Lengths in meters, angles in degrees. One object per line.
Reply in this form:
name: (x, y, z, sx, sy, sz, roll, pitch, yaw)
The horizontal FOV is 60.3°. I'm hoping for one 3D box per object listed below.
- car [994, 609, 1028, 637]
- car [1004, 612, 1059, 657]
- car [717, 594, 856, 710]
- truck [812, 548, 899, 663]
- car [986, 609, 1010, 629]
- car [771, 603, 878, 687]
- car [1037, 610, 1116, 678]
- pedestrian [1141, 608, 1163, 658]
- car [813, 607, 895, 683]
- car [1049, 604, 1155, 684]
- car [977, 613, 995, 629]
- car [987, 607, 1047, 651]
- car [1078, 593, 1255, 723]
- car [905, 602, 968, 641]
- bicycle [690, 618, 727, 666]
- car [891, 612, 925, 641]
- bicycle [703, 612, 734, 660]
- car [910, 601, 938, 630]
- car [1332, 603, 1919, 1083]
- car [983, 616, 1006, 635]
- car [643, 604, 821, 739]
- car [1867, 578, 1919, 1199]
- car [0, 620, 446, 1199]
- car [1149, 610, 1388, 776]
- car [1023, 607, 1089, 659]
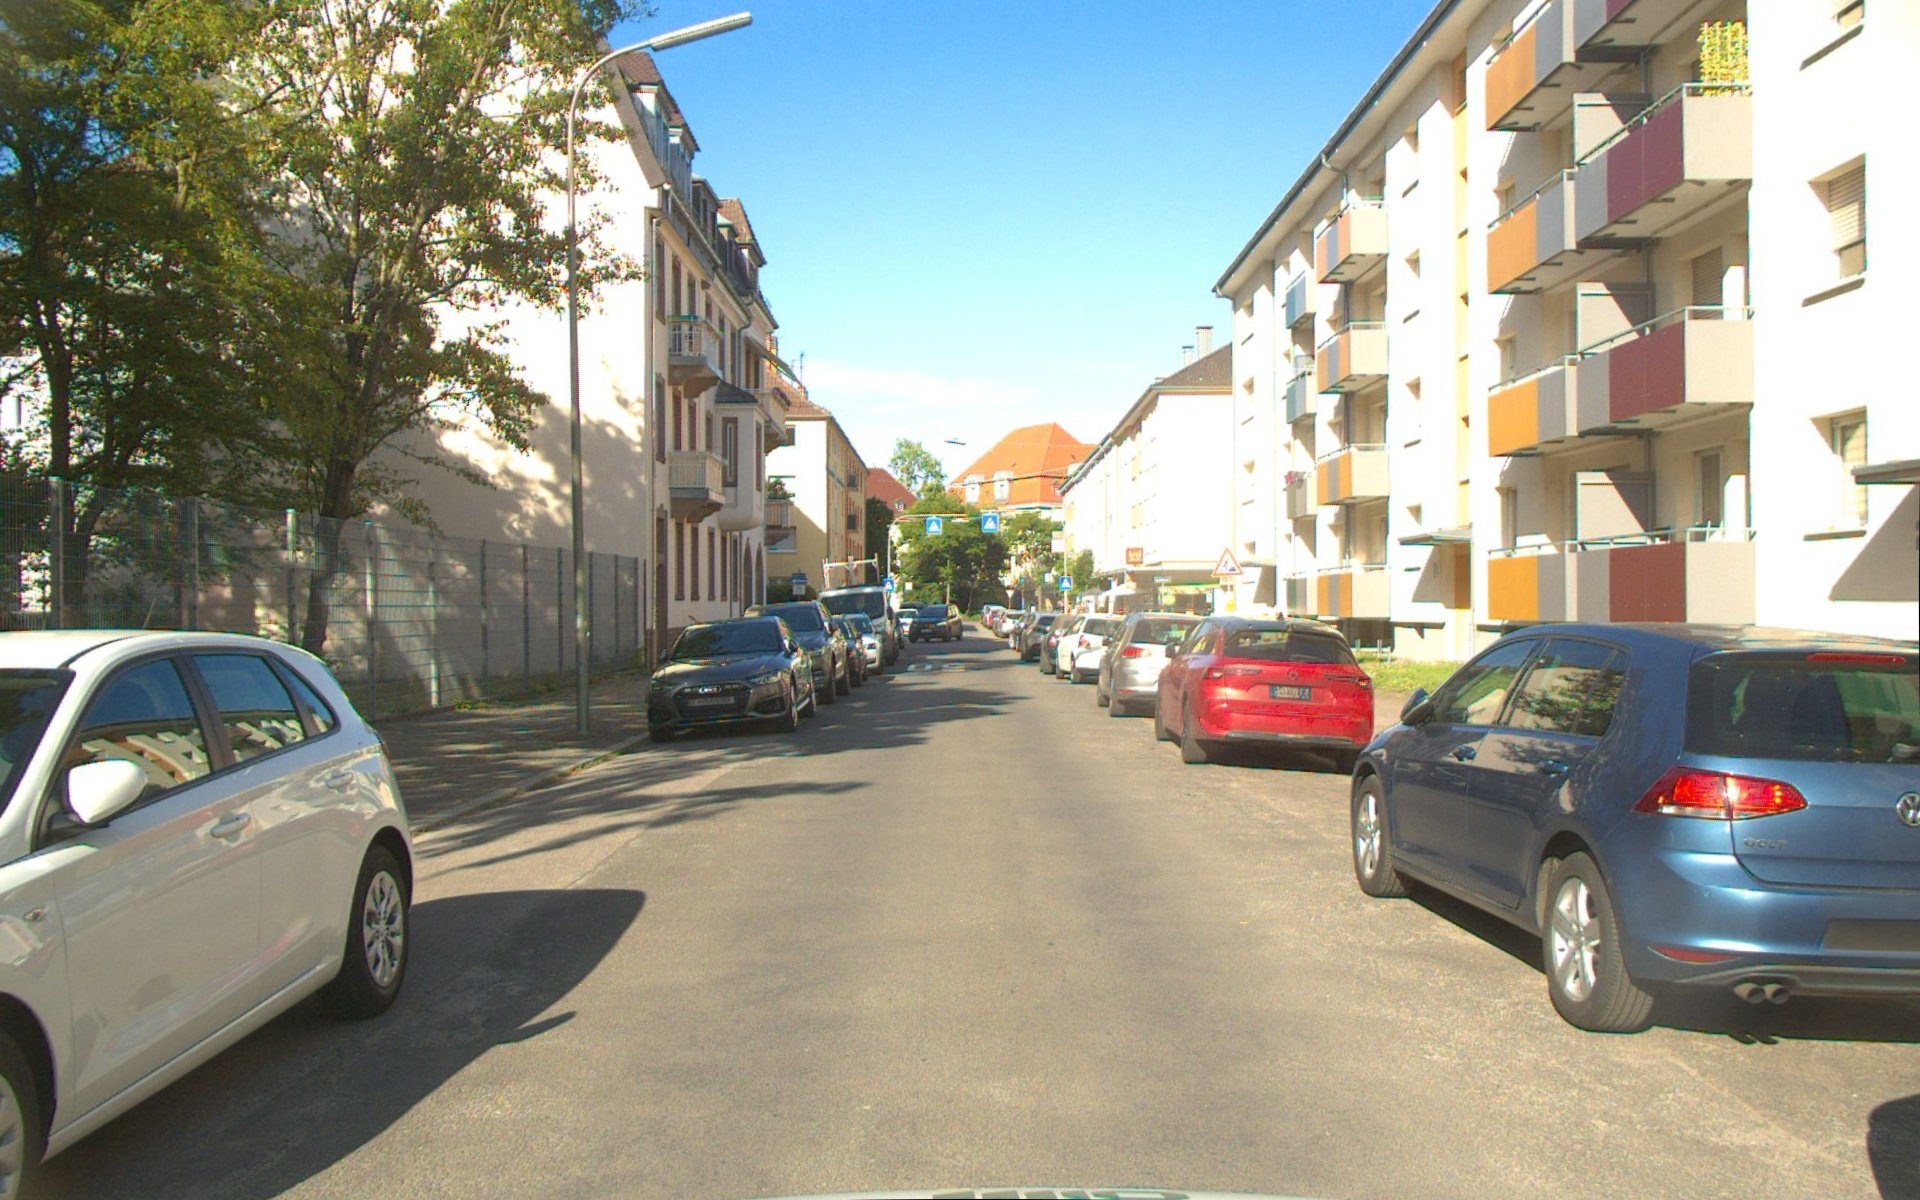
car: (2.742, 1.220, 88.709, 1.807, 1.466, 3.419, 0, -1, 2)
car: (2.409, 1.178, 56.292, 1.612, 1.485, 3.938, 1, -1, -1)
car: (-2.814, 0.833, 27.863, 1.841, 1.693, 4.930, -2, -1, -1)
truck: (-2.916, 0.216, 47.526, 2.213, 3.038, 7.273, 0, -1, -1)
car: (2.740, 1.366, 120.098, 1.604, 1.466, 3.418, 0, 0, -1)
car: (-2.721, 0.901, 34.100, 1.755, 1.590, 4.459, 1, -1, 1)
car: (2.791, 1.026, 40.159, 1.653, 1.492, 3.583, 2, 0, 1)
pedestrian: (5.654, 0.965, 48.637, 0.563, 1.458, 0.471, -1, 0, 2)
car: (-2.541, 1.049, 40.477, 1.757, 1.567, 4.639, -6, 0, -2)
car: (3.013, 0.930, 35.737, 1.652, 1.488, 3.817, 5, -1, -3)
car: (2.454, 1.985, 154.717, 1.604, 1.466, 3.418, 0, -1, -1)
car: (2.079, 1.096, 61.741, 1.817, 1.550, 4.774, 1, -1, -3)
car: (2.898, 0.796, 24.204, 1.860, 1.650, 4.600, 2, -1, -1)
car: (-1.008, 0.931, 72.792, 1.782, 1.662, 4.260, -1, 0, 13)
bicycle: (-6.729, 1.112, 44.337, 0.616, 1.225, 2.340, 0, 0, 0)
car: (-2.903, 1.453, 92.987, 1.755, 1.506, 4.099, -1, 0, 0)
bicycle: (-6.884, 1.019, 47.261, 0.557, 1.301, 2.340, 0, 0, 0)
car: (-2.305, 0.996, 105.575, 1.662, 1.810, 4.098, 0, -1, 0)
car: (3.037, 0.800, 7.287, 1.717, 1.507, 4.078, 1, -1, -3)
car: (2.619, 1.951, 126.153, 1.604, 1.466, 3.418, 0, -1, -1)
car: (-2.847, 0.863, 21.573, 1.758, 1.496, 4.500, -2, -1, -2)
car: (3.046, 0.729, 1.750, 1.717, 1.586, 4.253, 1, -1, -3)
car: (-2.989, 0.825, 4.701, 1.757, 1.470, 4.119, -2, -1, -1)
car: (3.001, 0.854, 16.965, 1.716, 1.469, 4.523, 0, -1, 1)
car: (2.859, 0.963, 49.928, 1.755, 1.497, 4.339, 0, 0, 1)
